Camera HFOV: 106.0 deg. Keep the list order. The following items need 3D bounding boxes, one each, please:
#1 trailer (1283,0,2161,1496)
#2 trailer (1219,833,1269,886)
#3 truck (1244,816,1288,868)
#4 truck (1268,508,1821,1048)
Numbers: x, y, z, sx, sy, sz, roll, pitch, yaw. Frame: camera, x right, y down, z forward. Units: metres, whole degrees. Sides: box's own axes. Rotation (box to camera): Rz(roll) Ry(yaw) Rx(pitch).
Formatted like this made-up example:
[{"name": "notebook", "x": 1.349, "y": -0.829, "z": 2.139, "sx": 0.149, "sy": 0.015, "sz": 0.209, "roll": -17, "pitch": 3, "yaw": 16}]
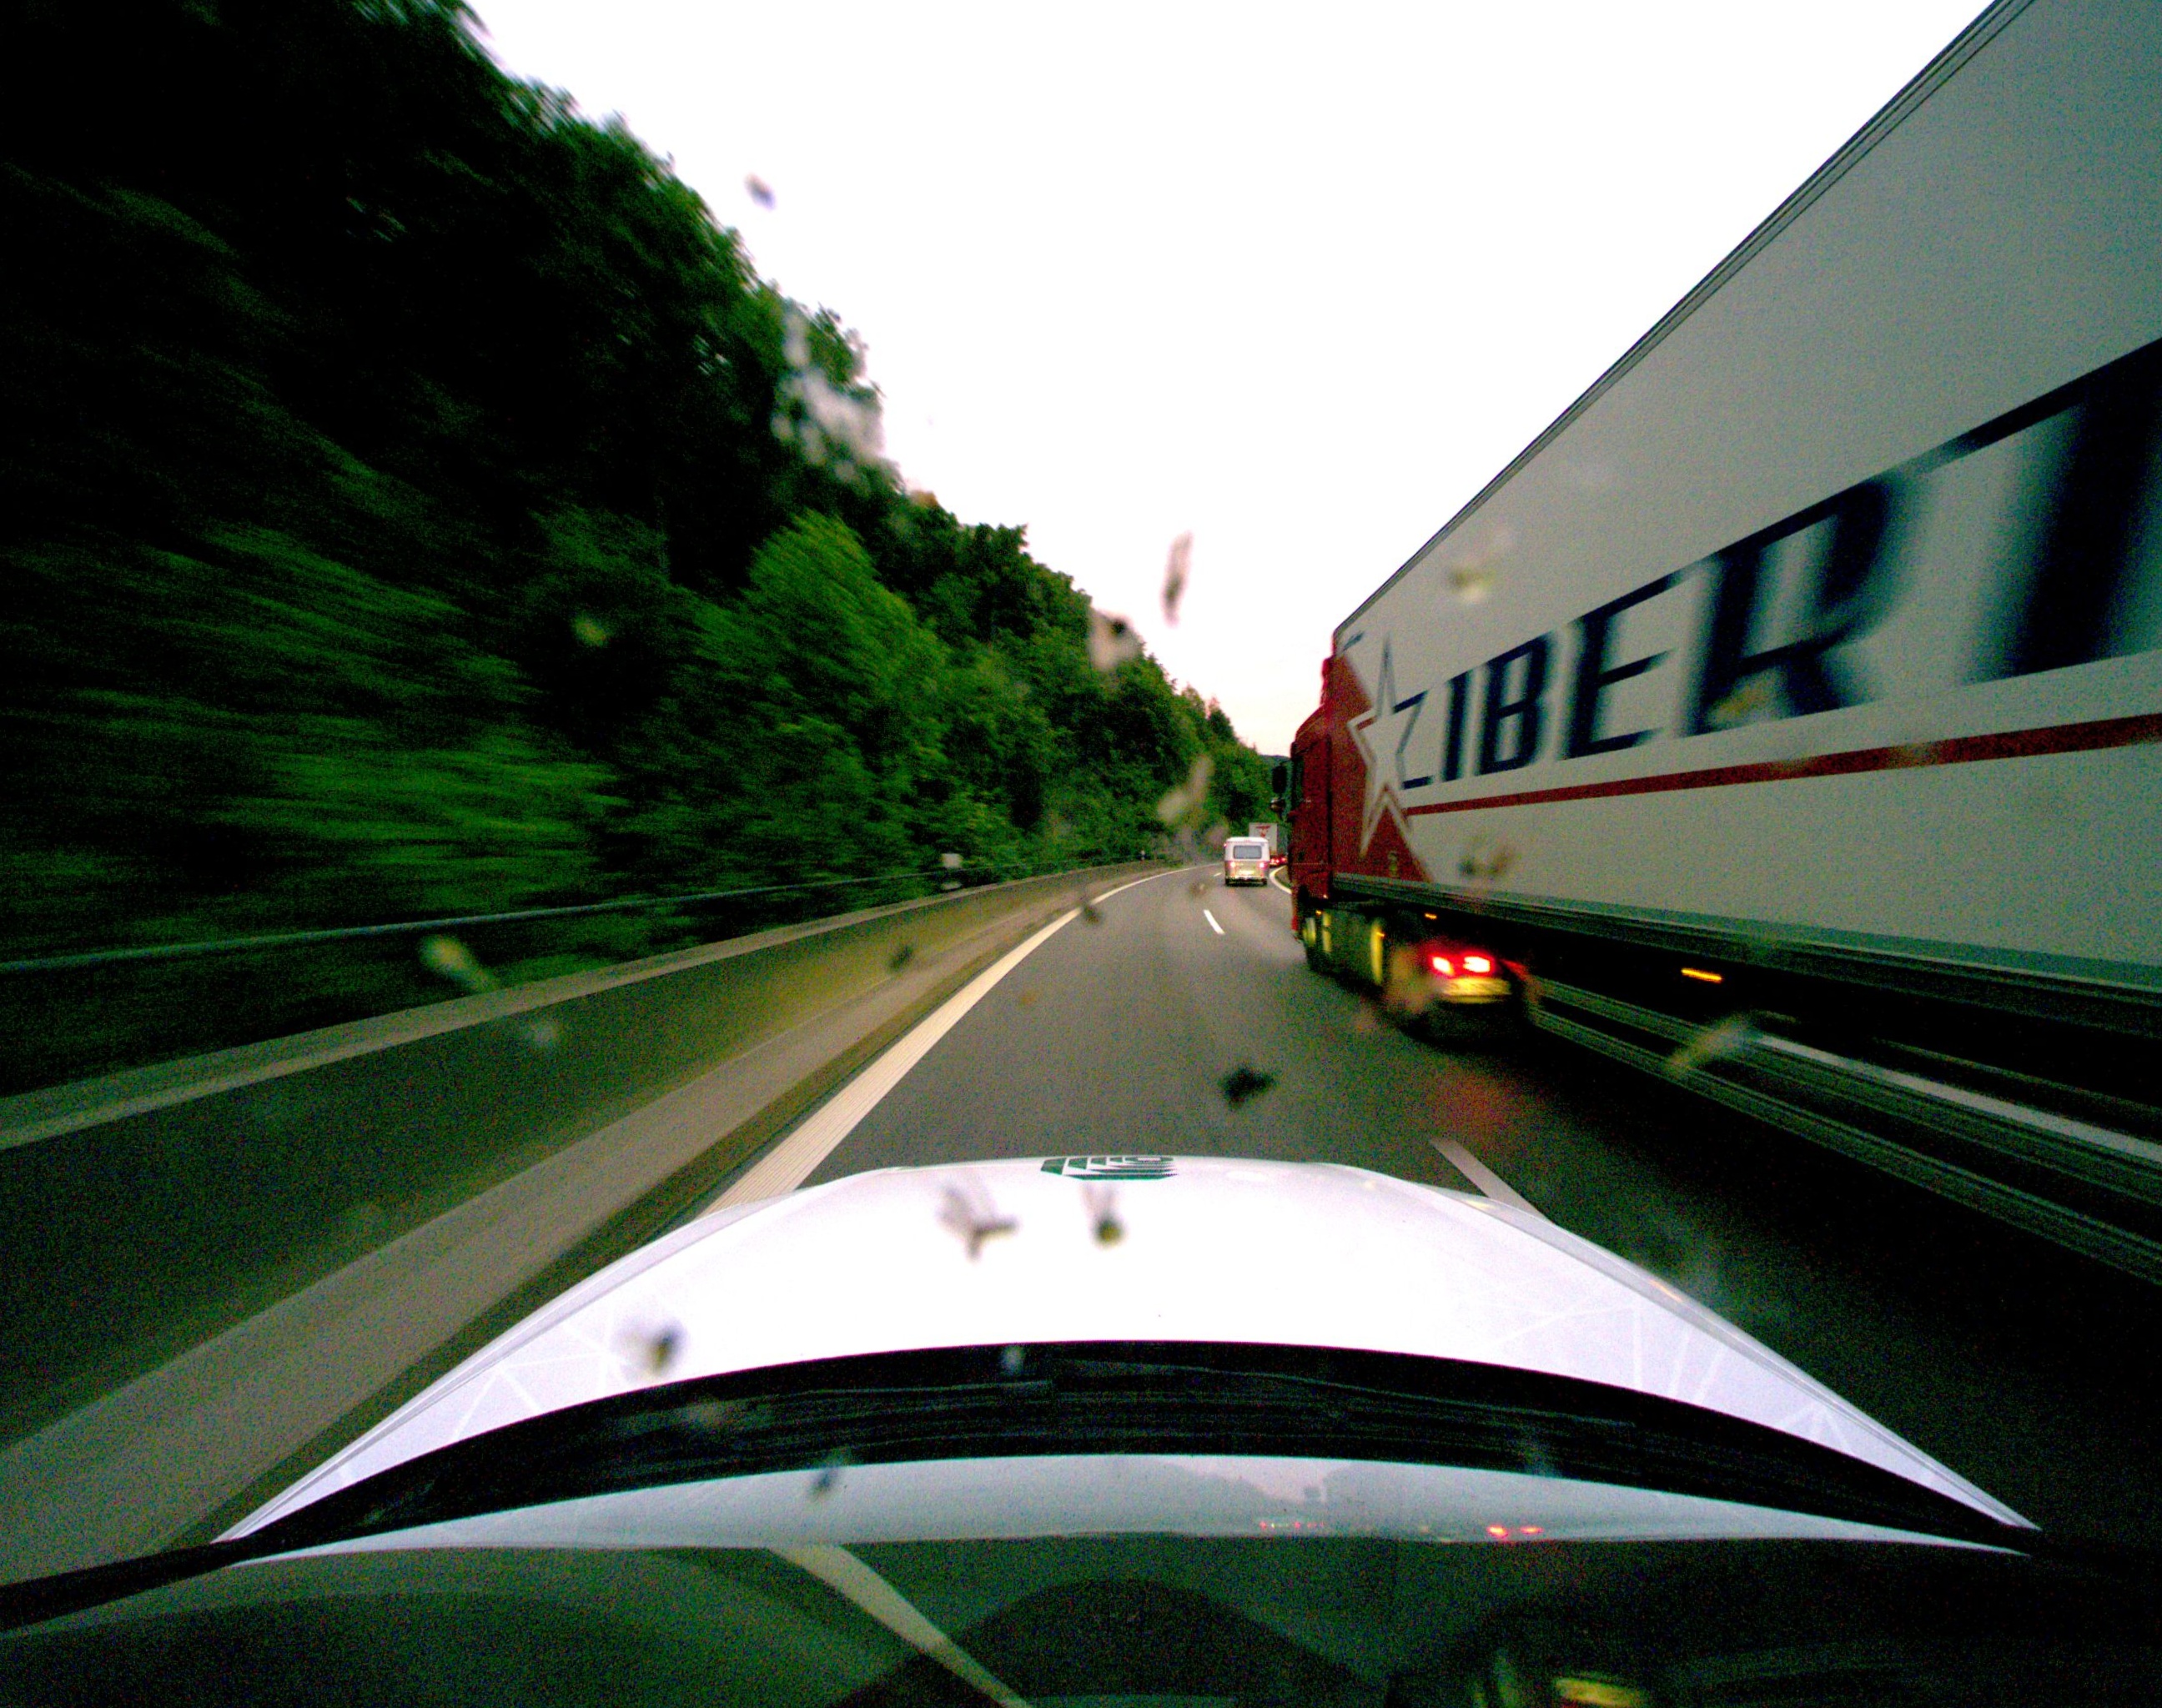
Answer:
[{"name": "trailer", "x": 4.002, "y": -0.546, "z": 2.984, "sx": 3.086, "sy": 3.970, "sz": 14.219, "roll": -2, "pitch": 0, "yaw": 1}, {"name": "trailer", "x": 7.773, "y": 0.206, "z": 39.234, "sx": 2.043, "sy": 2.375, "sz": 5.952, "roll": 0, "pitch": 1, "yaw": 8}, {"name": "truck", "x": 17.397, "y": -0.953, "z": 77.514, "sx": 3.274, "sy": 4.173, "sz": 16.553, "roll": -4, "pitch": -1, "yaw": 11}, {"name": "truck", "x": 4.309, "y": -0.590, "z": 9.517, "sx": 3.056, "sy": 4.145, "sz": 6.451, "roll": 1, "pitch": -1, "yaw": 3}]
